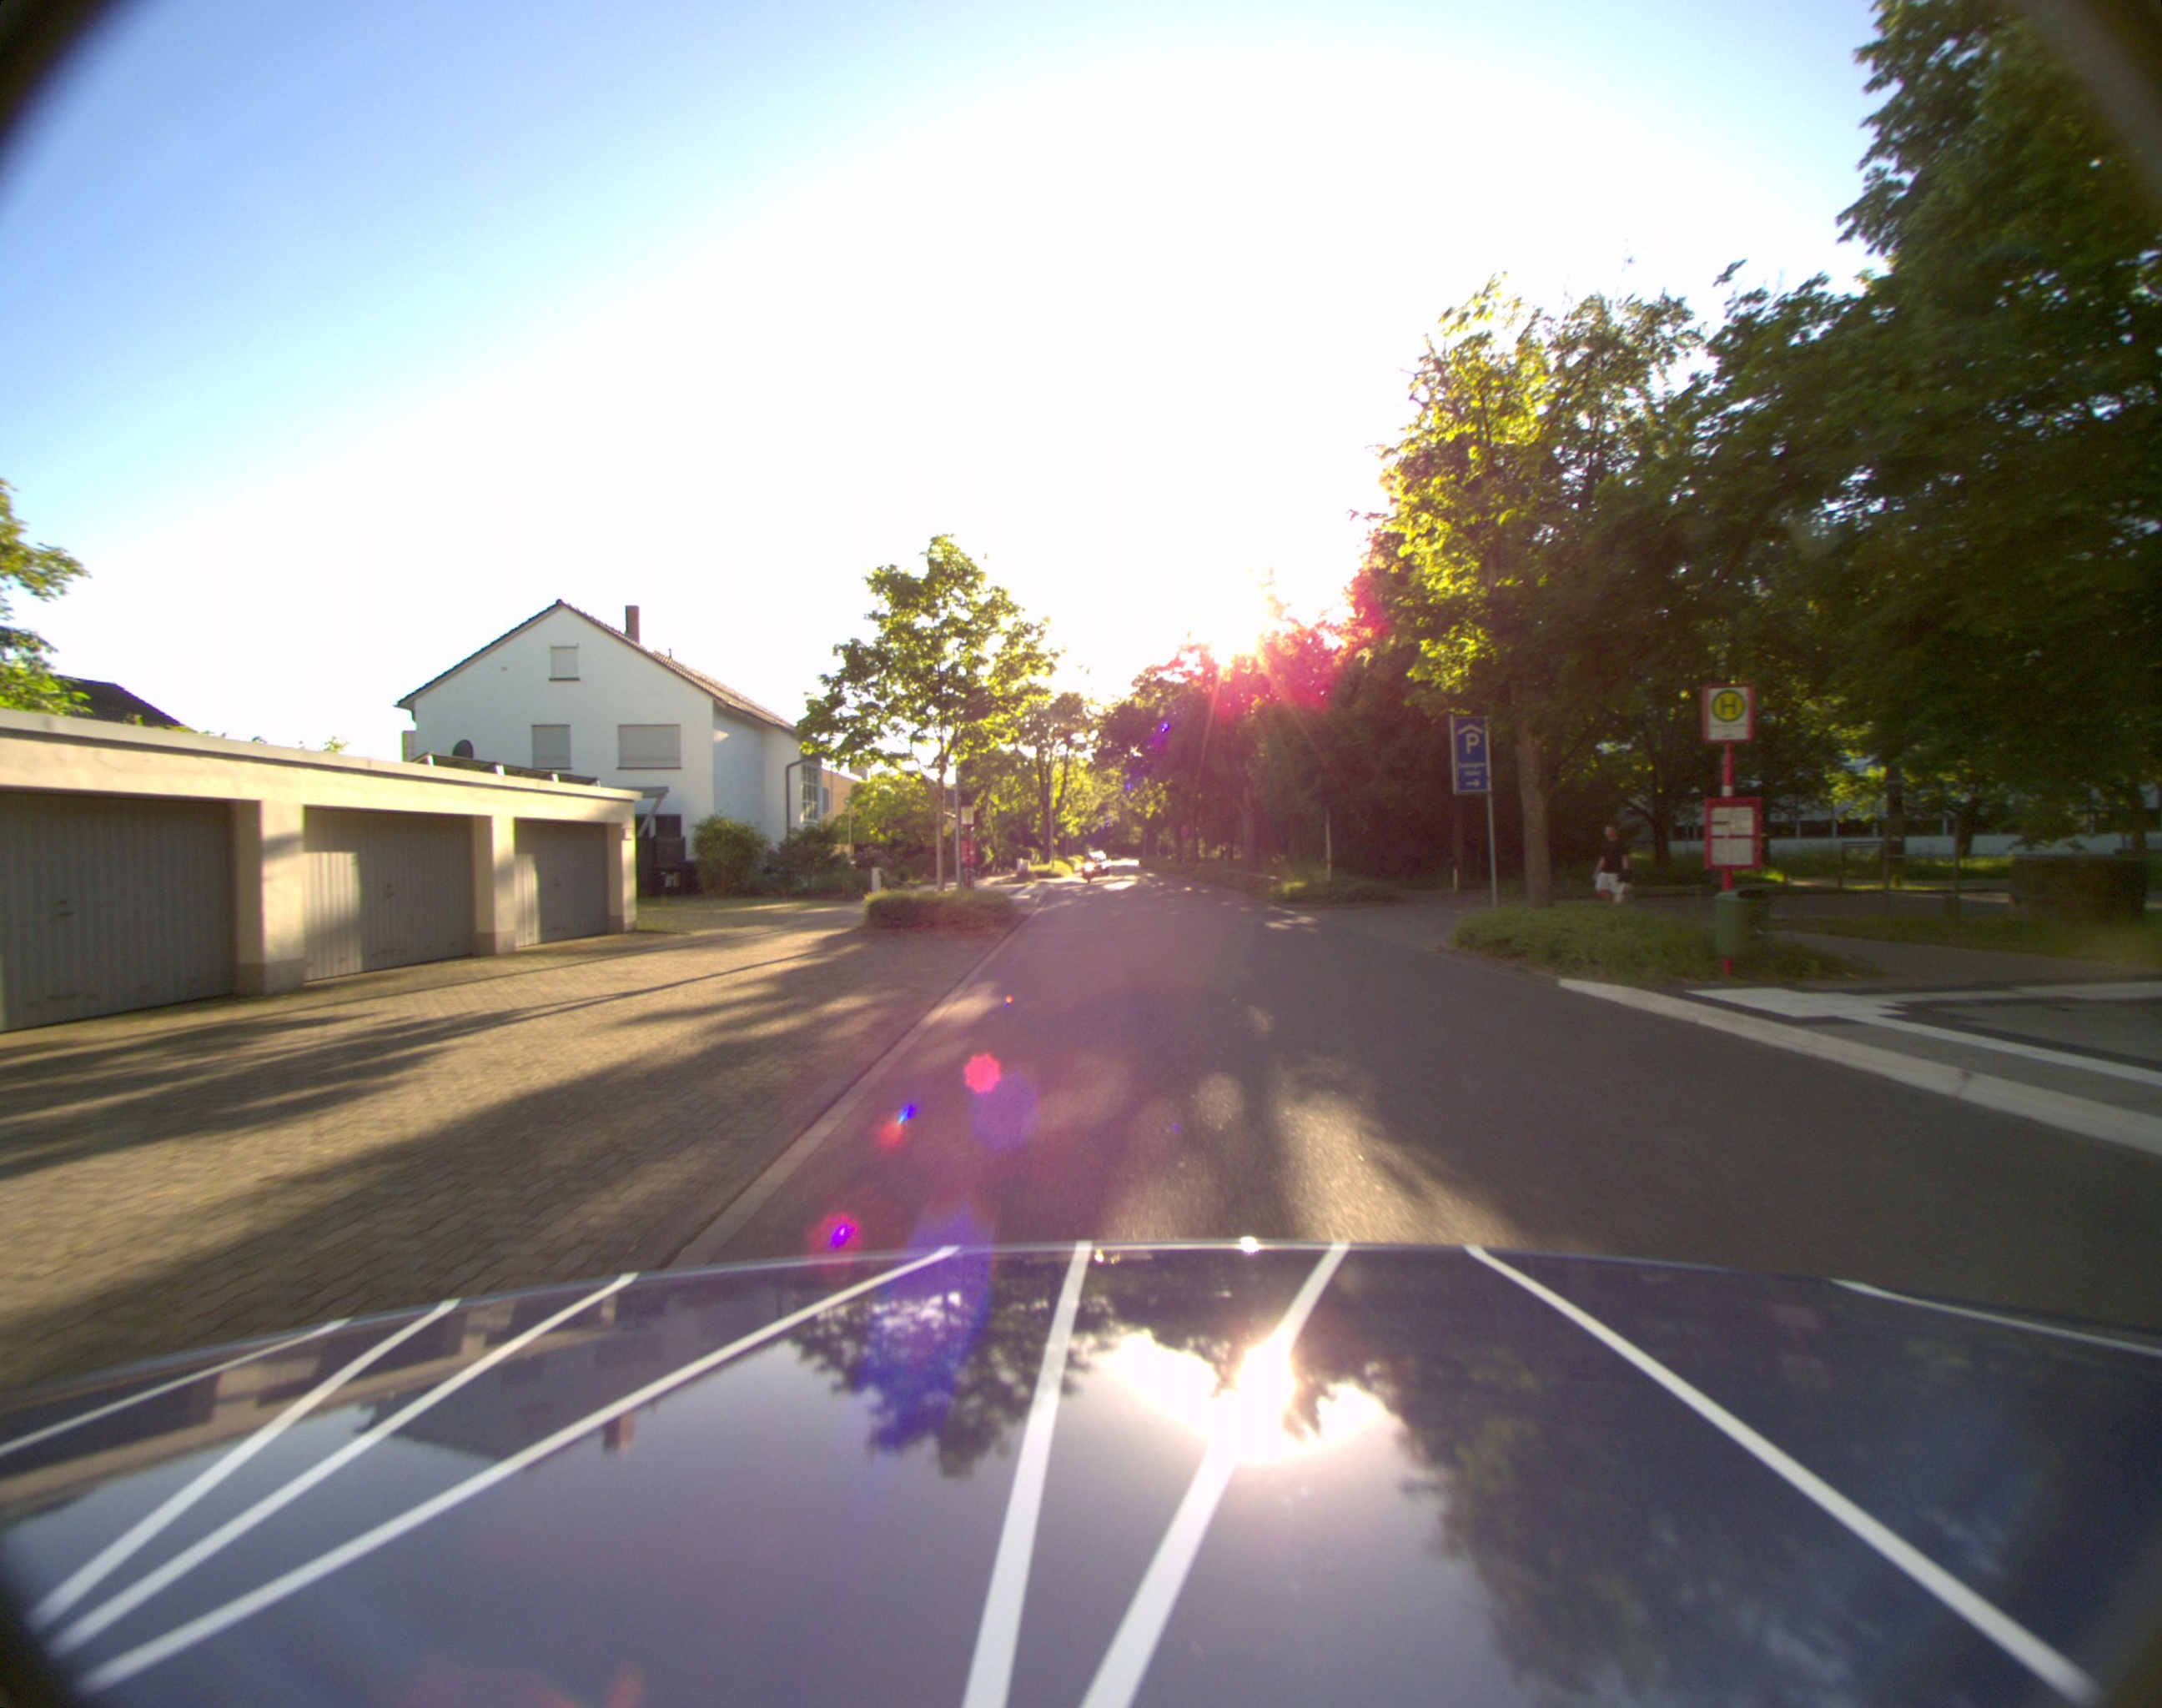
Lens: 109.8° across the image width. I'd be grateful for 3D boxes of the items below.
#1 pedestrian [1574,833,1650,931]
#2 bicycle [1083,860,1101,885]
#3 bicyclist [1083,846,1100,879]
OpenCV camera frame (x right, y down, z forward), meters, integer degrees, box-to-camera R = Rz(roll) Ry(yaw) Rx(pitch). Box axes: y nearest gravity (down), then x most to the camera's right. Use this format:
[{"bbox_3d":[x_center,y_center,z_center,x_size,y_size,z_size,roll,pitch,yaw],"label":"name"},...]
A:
[{"bbox_3d":[10.113,0.519,14.495,0.905,1.810,0.720,-1,1,-2],"label":"pedestrian"},{"bbox_3d":[0.559,0.915,38.983,0.829,1.182,2.302,-2,0,0],"label":"bicycle"},{"bbox_3d":[0.544,0.421,38.907,0.819,1.635,0.744,-2,1,0],"label":"bicyclist"}]
